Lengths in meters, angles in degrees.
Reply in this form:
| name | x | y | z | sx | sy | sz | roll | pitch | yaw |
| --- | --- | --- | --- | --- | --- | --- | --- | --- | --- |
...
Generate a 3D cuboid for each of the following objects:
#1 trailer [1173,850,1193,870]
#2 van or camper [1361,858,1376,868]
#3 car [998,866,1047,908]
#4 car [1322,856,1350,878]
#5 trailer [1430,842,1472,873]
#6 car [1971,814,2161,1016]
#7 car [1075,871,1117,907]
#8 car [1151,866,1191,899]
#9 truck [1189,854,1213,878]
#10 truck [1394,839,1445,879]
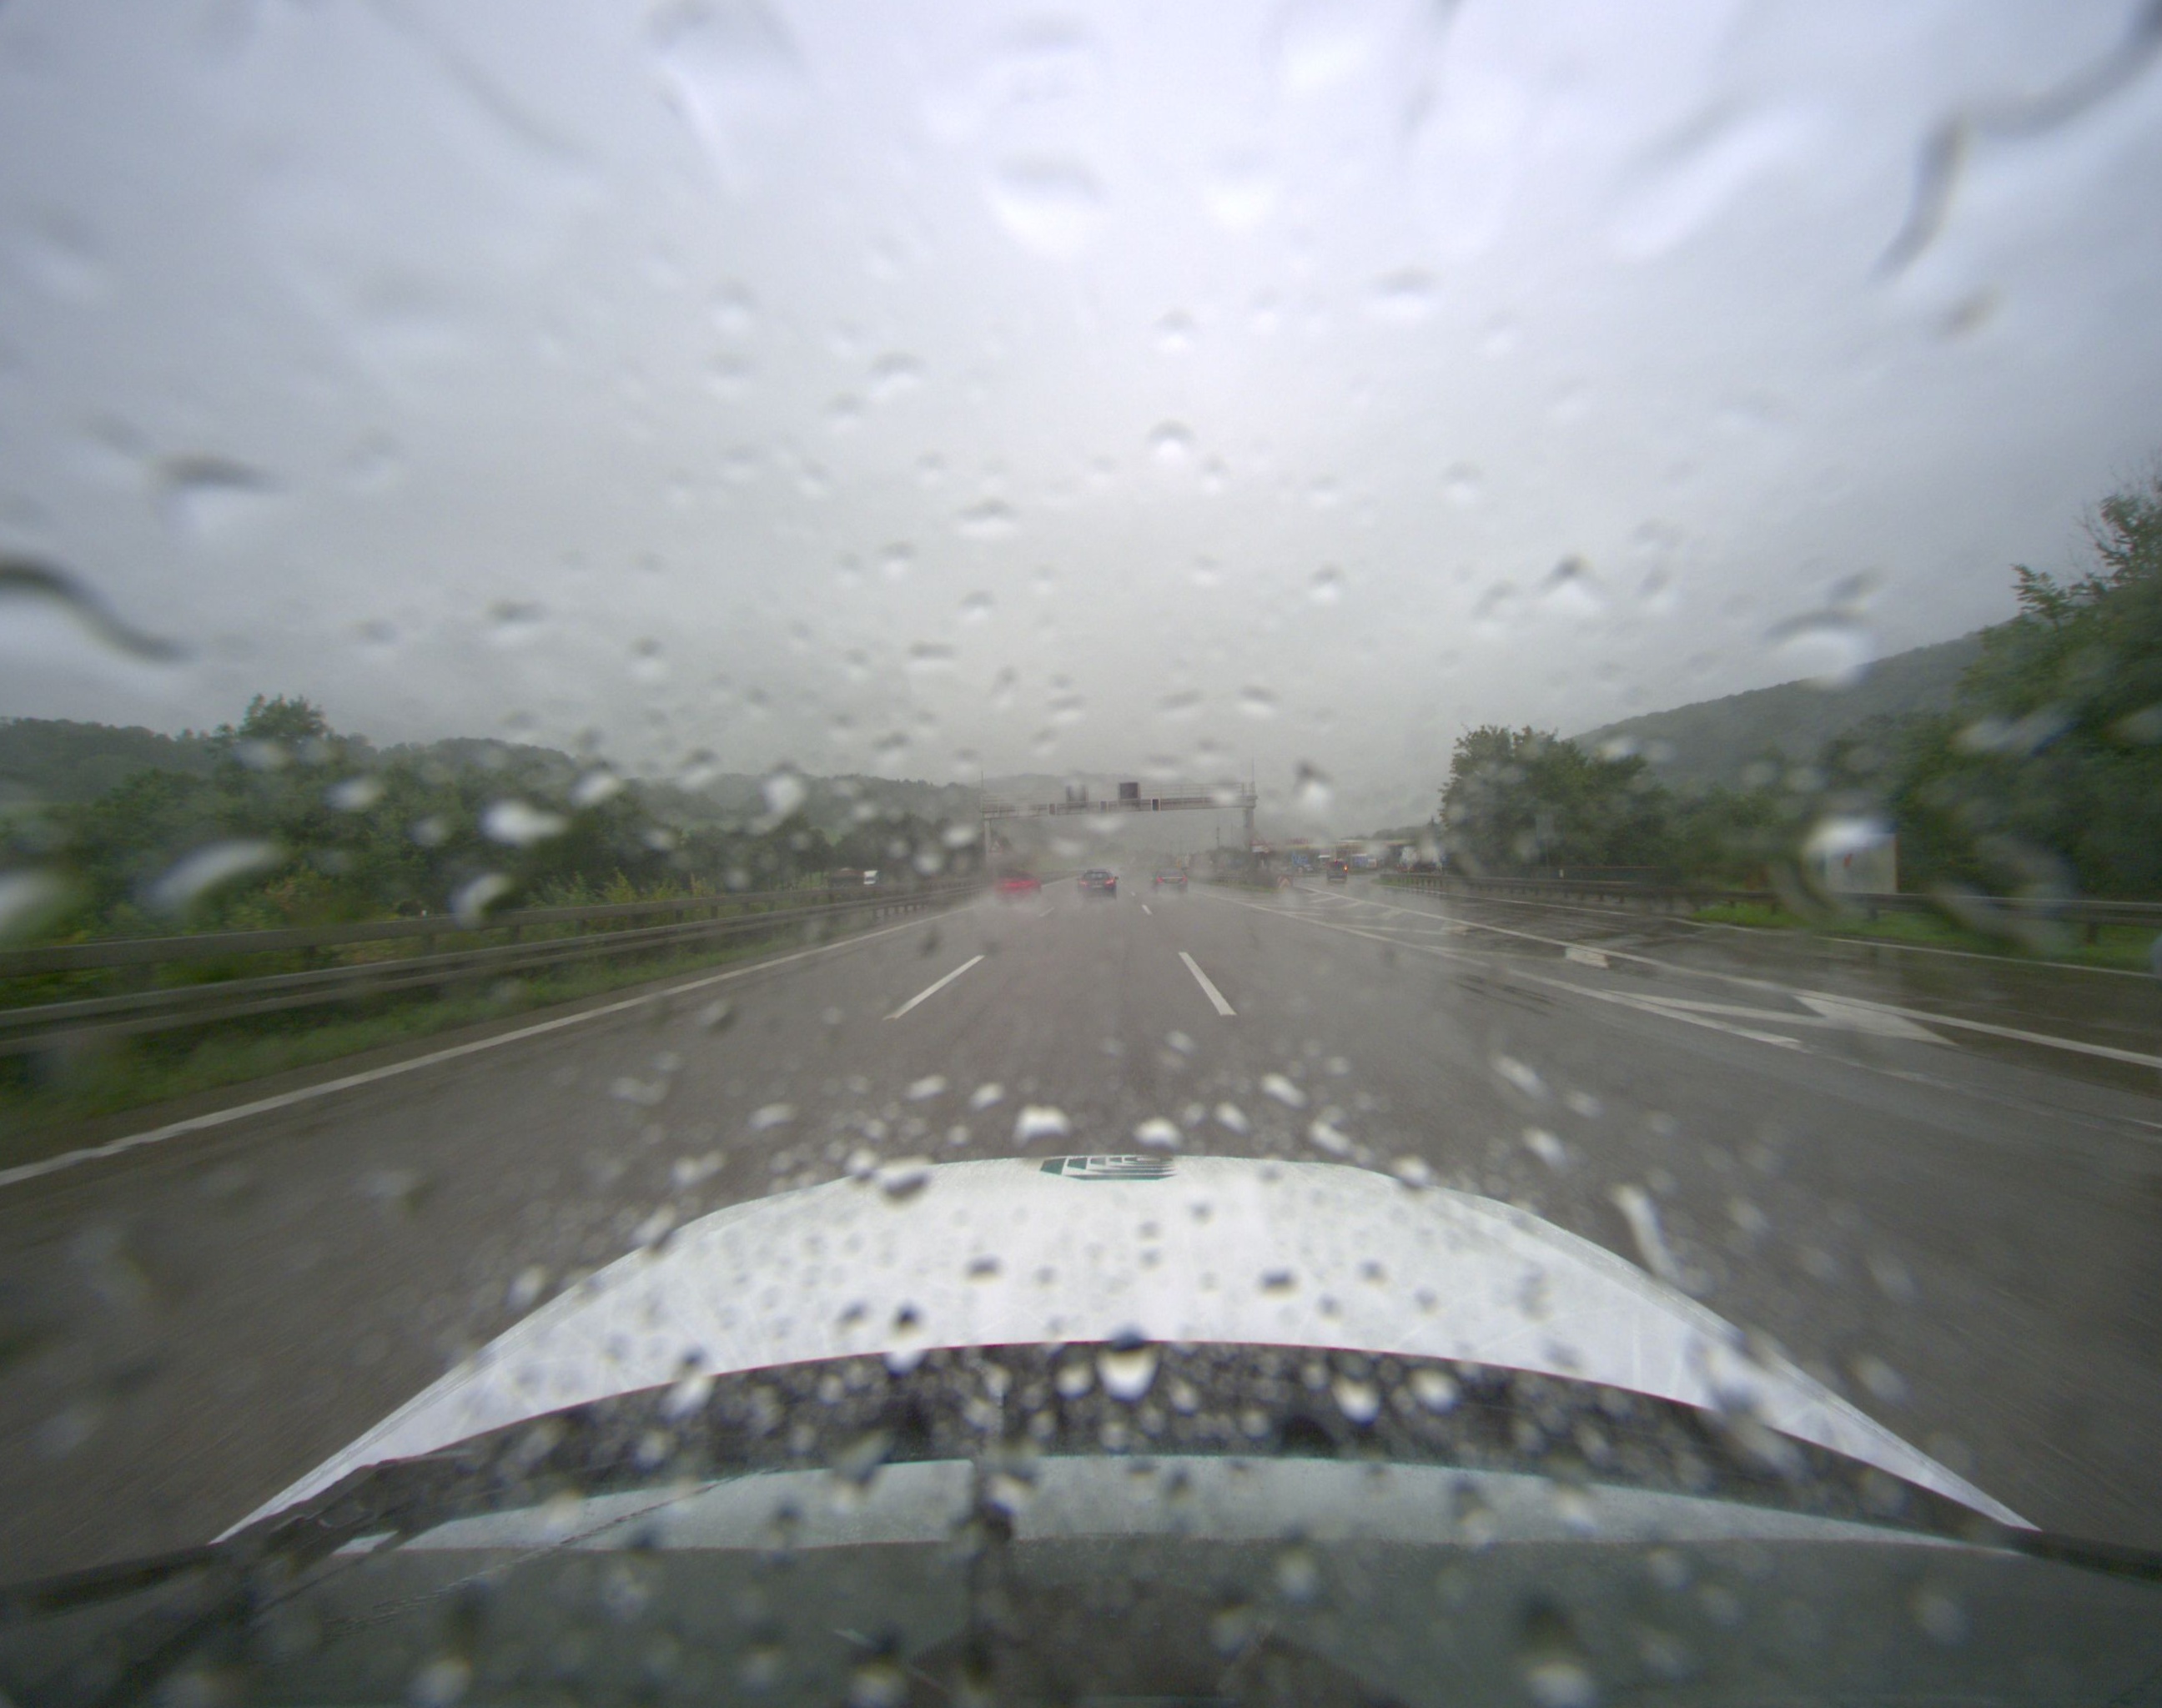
| name | x | y | z | sx | sy | sz | roll | pitch | yaw |
| --- | --- | --- | --- | --- | --- | --- | --- | --- | --- |
| trailer | 22.435 | 1.417 | 179.751 | 3.501 | 4.262 | 11.929 | -1 | -1 | 3 |
| van or camper | 62.412 | 1.949 | 177.000 | 1.986 | 2.014 | 4.001 | -1 | -1 | 2 |
| car | -2.744 | 1.535 | 39.037 | 1.877 | 1.816 | 4.001 | -2 | -1 | 2 |
| car | 24.754 | 1.228 | 79.217 | 1.981 | 2.014 | 5.068 | -2 | -1 | 10 |
| trailer | 48.959 | 0.535 | 107.523 | 2.757 | 3.901 | 11.825 | -2 | -2 | 35 |
| car | 10.187 | 0.490 | 5.757 | 1.983 | 1.750 | 5.672 | -1 | -1 | 6 |
| car | 0.742 | 1.611 | 38.251 | 1.852 | 1.589 | 4.002 | -1 | -1 | 3 |
| car | 5.106 | 1.580 | 46.758 | 1.964 | 1.760 | 4.002 | -2 | -1 | 2 |
| truck | 21.954 | 2.200 | 149.727 | 3.387 | 4.402 | 11.055 | 0 | -1 | 3 |
| truck | 38.789 | 0.618 | 92.984 | 2.842 | 4.257 | 11.947 | -2 | -2 | 34 |
